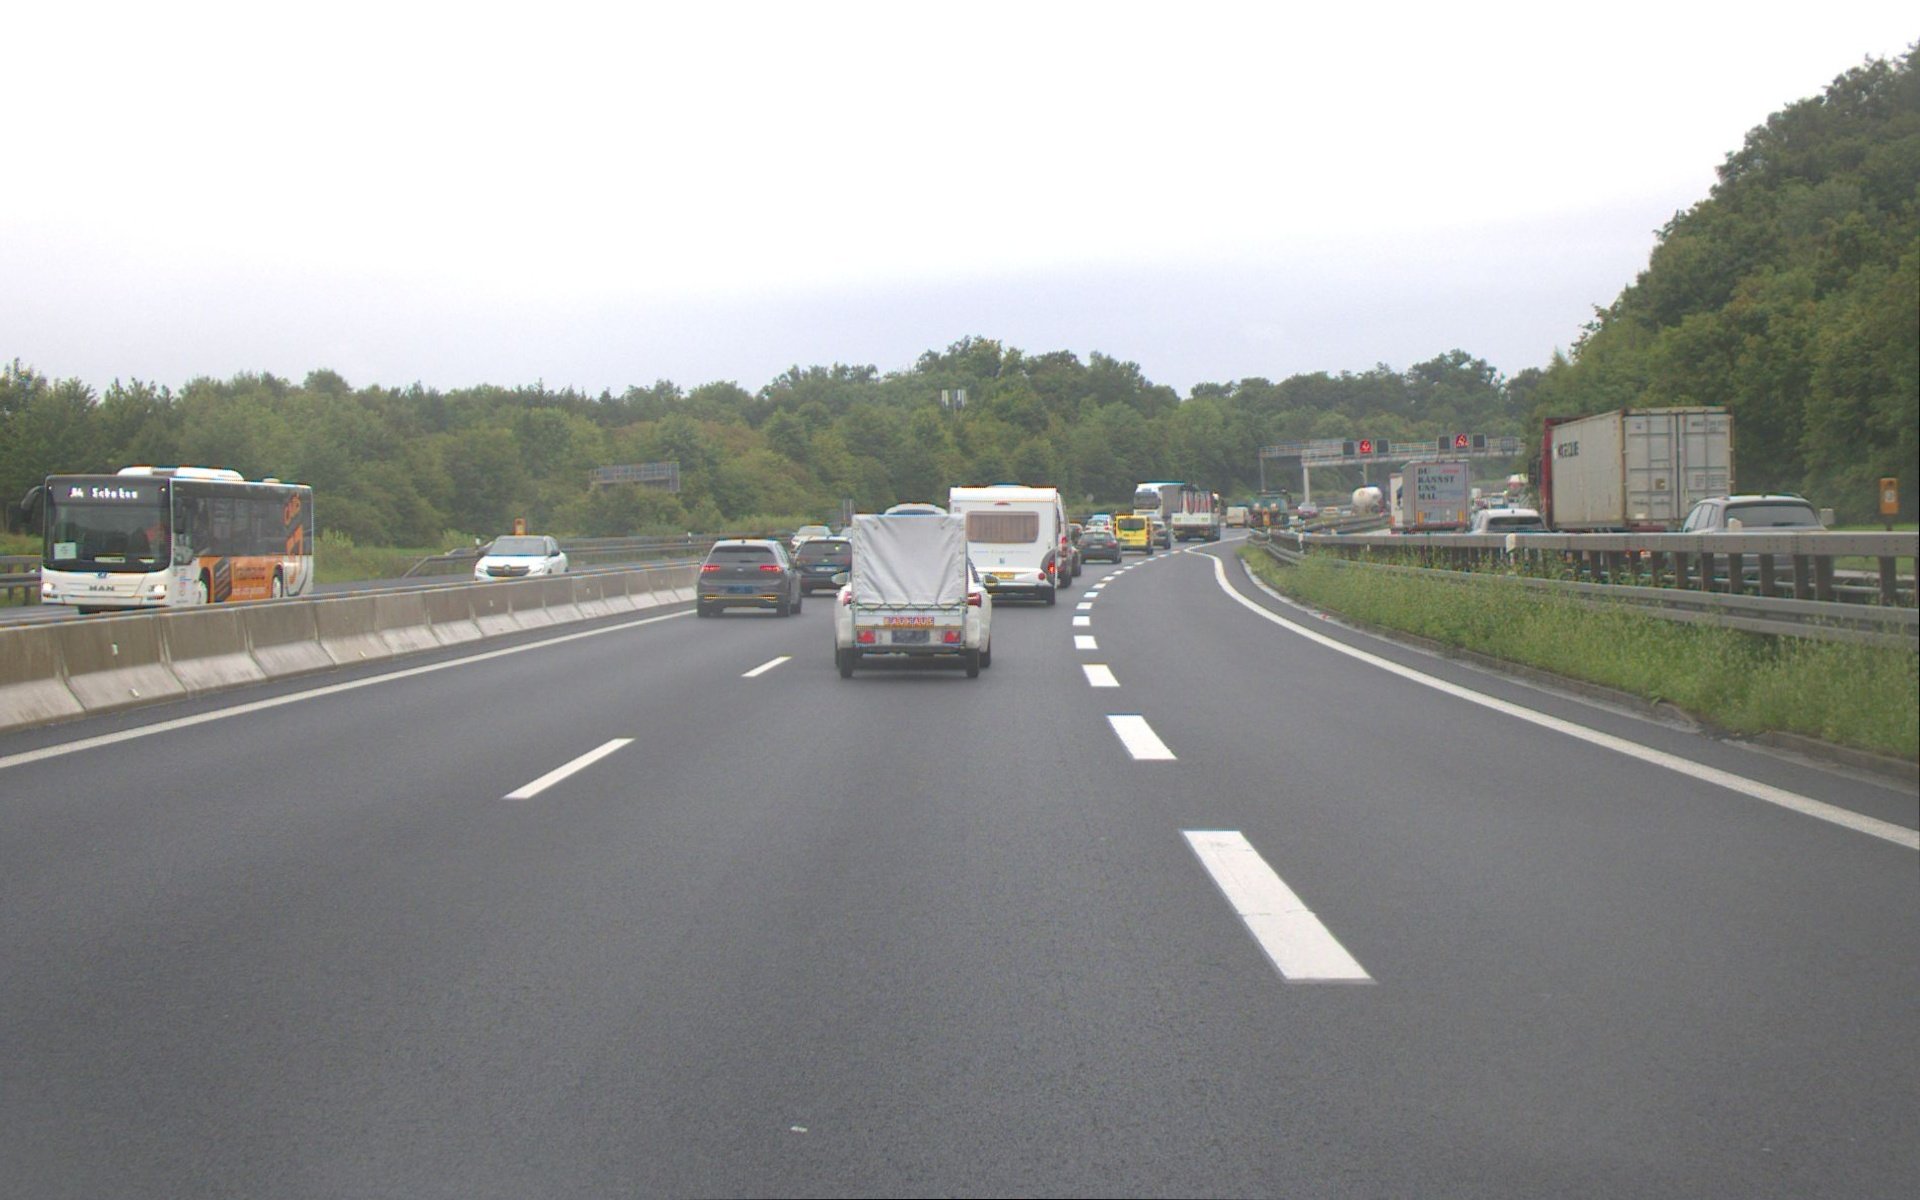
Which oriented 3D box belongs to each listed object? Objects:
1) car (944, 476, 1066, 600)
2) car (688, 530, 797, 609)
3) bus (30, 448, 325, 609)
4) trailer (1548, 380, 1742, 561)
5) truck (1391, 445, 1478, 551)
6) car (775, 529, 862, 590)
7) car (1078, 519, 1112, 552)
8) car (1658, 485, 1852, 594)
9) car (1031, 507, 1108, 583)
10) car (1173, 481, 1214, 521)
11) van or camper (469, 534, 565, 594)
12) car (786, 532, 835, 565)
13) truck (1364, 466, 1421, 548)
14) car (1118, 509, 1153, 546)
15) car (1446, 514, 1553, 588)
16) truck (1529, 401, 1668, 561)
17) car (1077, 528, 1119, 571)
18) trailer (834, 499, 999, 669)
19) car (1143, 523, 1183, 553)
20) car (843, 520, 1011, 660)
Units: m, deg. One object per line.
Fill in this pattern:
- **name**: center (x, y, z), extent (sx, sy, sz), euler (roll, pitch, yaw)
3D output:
- **car**: center (1.044, -1.346, 75.586), extent (2.508, 2.576, 5.699), euler (-1, 1, 2)
- **car**: center (-4.135, -0.587, 65.862), extent (1.676, 1.451, 4.000), euler (-1, 1, 2)
- **bus**: center (-15.887, -1.427, 70.920), extent (2.698, 2.948, 11.897), euler (-2, 1, 3)
- **trailer**: center (15.864, -2.876, 80.532), extent (2.604, 3.881, 12.490), euler (-1, 1, 3)
- **truck**: center (21.785, -4.598, 158.462), extent (3.216, 4.650, 13.030), euler (-1, 1, 5)
- **car**: center (-3.459, -0.999, 84.568), extent (1.765, 1.451, 4.000), euler (-1, 1, 3)
- **car**: center (8.443, -4.004, 214.945), extent (1.994, 2.007, 4.000), euler (-1, 1, 4)
- **car**: center (11.073, -0.839, 48.121), extent (1.667, 1.378, 4.126), euler (-3, 1, 0)
- **car**: center (3.075, -1.529, 95.805), extent (1.676, 2.060, 3.999), euler (-1, 1, 8)
- **car**: center (15.460, -6.513, 227.260), extent (2.516, 2.566, 5.311), euler (-1, 1, 5)
- **van or camper**: center (-11.032, -0.902, 85.888), extent (1.748, 1.442, 4.586), euler (-1, 1, 0)
- **car**: center (-7.600, -2.633, 175.143), extent (1.892, 1.644, 4.602), euler (-1, 1, 5)
- **truck**: center (25.648, -5.431, 204.160), extent (3.216, 4.650, 13.029), euler (-1, 1, 7)
- **car**: center (8.869, -3.666, 173.589), extent (1.676, 1.806, 4.000), euler (-1, 1, 4)
- **car**: center (12.092, -1.098, 77.288), extent (1.770, 1.604, 4.643), euler (-1, 1, 1)
- **truck**: center (16.182, -2.956, 87.495), extent (2.616, 3.871, 6.391), euler (-1, 1, 3)
- **car**: center (5.829, -2.131, 145.681), extent (1.676, 1.806, 4.000), euler (-1, 1, 1)
- **trailer**: center (-0.441, -0.194, 38.793), extent (1.676, 1.806, 4.000), euler (-1, 1, 2)
- **car**: center (11.455, -3.488, 193.660), extent (2.038, 1.677, 3.999), euler (-1, 1, 7)
- **car**: center (-0.351, -0.145, 42.278), extent (1.818, 1.610, 4.777), euler (-1, 1, 2)
